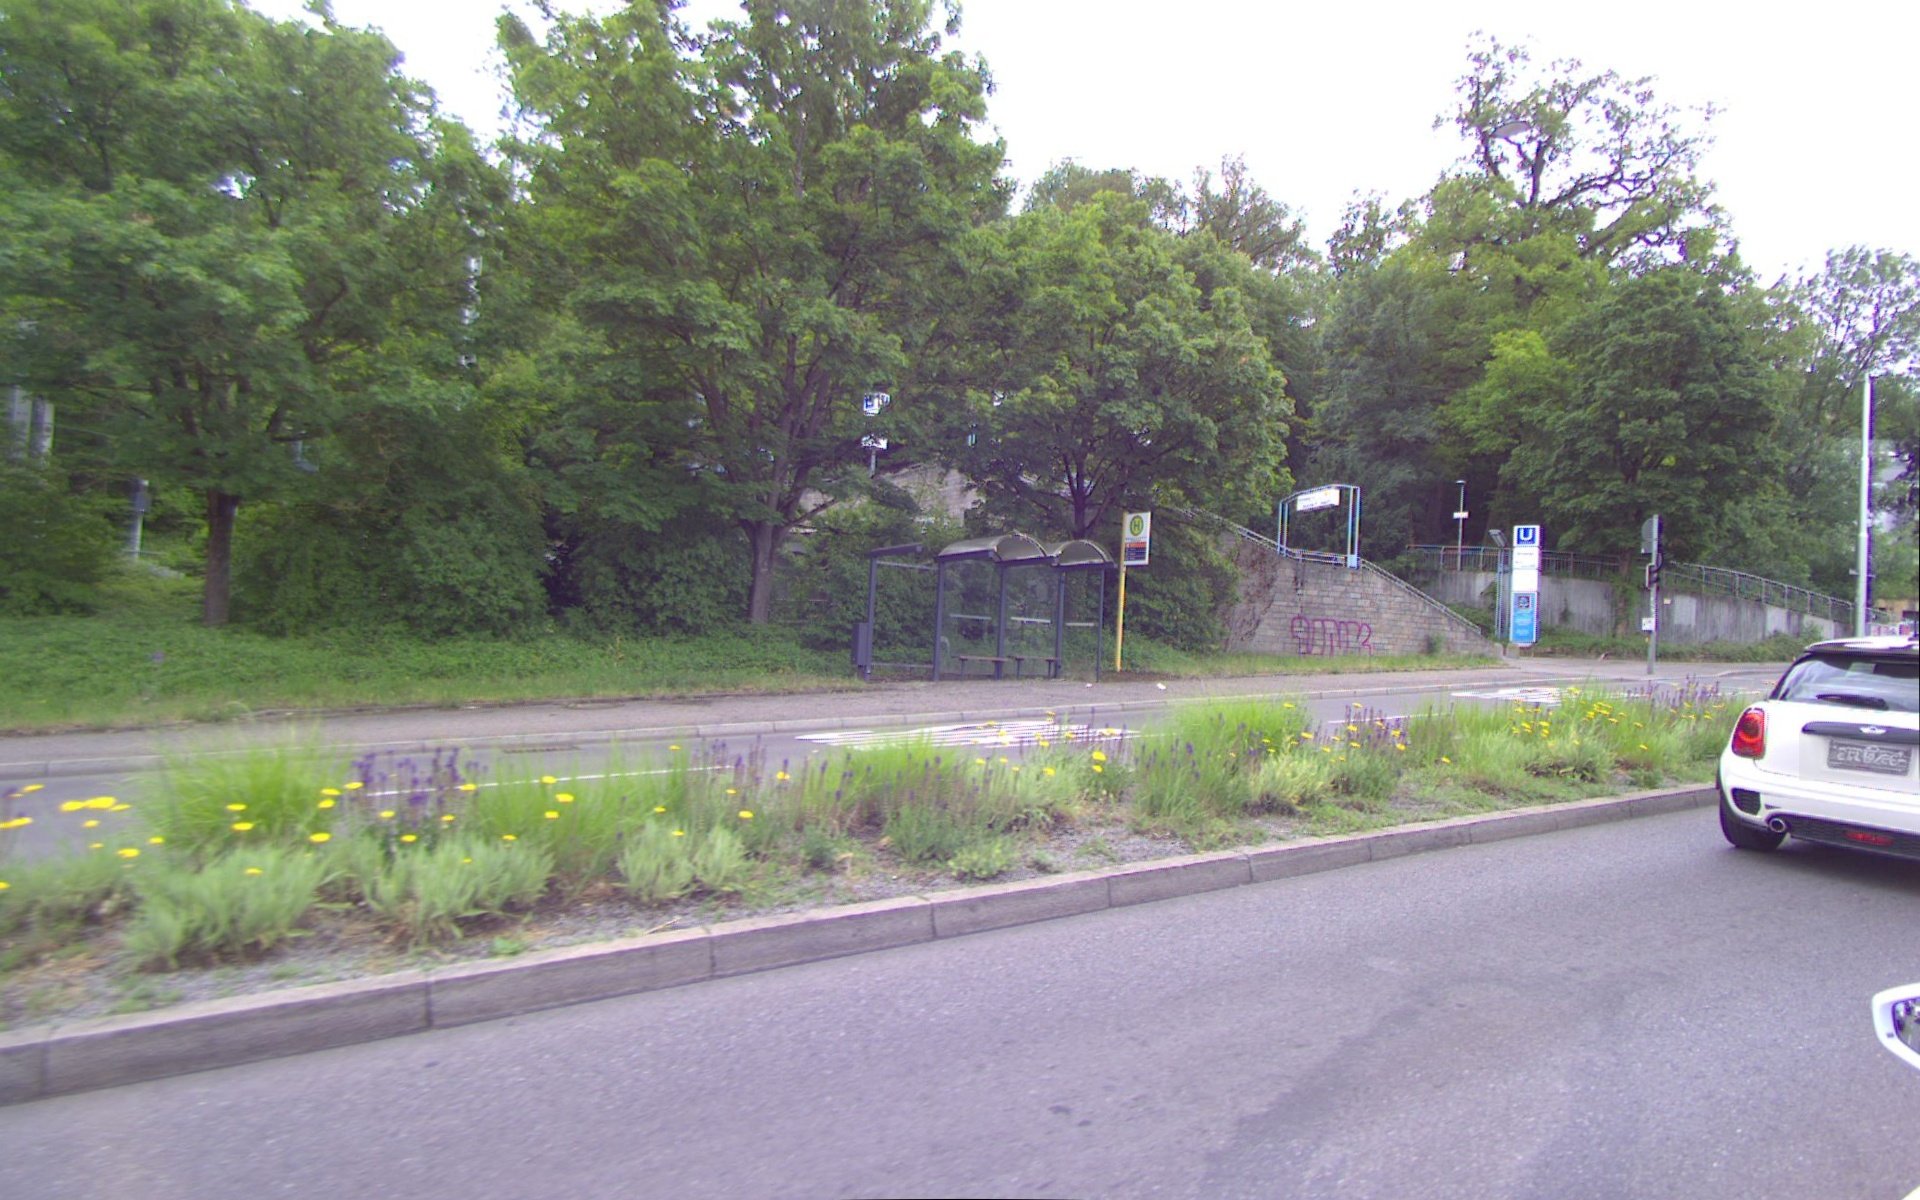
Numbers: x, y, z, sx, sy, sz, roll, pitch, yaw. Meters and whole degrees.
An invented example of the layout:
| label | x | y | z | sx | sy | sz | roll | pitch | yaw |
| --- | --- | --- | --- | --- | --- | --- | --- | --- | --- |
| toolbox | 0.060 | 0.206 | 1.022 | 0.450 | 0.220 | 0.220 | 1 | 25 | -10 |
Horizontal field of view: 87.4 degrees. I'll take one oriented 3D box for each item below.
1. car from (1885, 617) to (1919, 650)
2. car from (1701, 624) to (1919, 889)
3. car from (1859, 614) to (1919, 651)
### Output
| label | x | y | z | sx | sy | sz | roll | pitch | yaw |
| --- | --- | --- | --- | --- | --- | --- | --- | --- | --- |
| car | 48.160 | 1.666 | 49.164 | 1.586 | 1.560 | 4.083 | 1 | -1 | -41 |
| car | 6.557 | 0.880 | 6.472 | 3.524 | 1.412 | 1.620 | 1 | -1 | -30 |
| car | 44.156 | 1.538 | 47.175 | 2.667 | 1.540 | 1.558 | 4 | 2 | 37 |
